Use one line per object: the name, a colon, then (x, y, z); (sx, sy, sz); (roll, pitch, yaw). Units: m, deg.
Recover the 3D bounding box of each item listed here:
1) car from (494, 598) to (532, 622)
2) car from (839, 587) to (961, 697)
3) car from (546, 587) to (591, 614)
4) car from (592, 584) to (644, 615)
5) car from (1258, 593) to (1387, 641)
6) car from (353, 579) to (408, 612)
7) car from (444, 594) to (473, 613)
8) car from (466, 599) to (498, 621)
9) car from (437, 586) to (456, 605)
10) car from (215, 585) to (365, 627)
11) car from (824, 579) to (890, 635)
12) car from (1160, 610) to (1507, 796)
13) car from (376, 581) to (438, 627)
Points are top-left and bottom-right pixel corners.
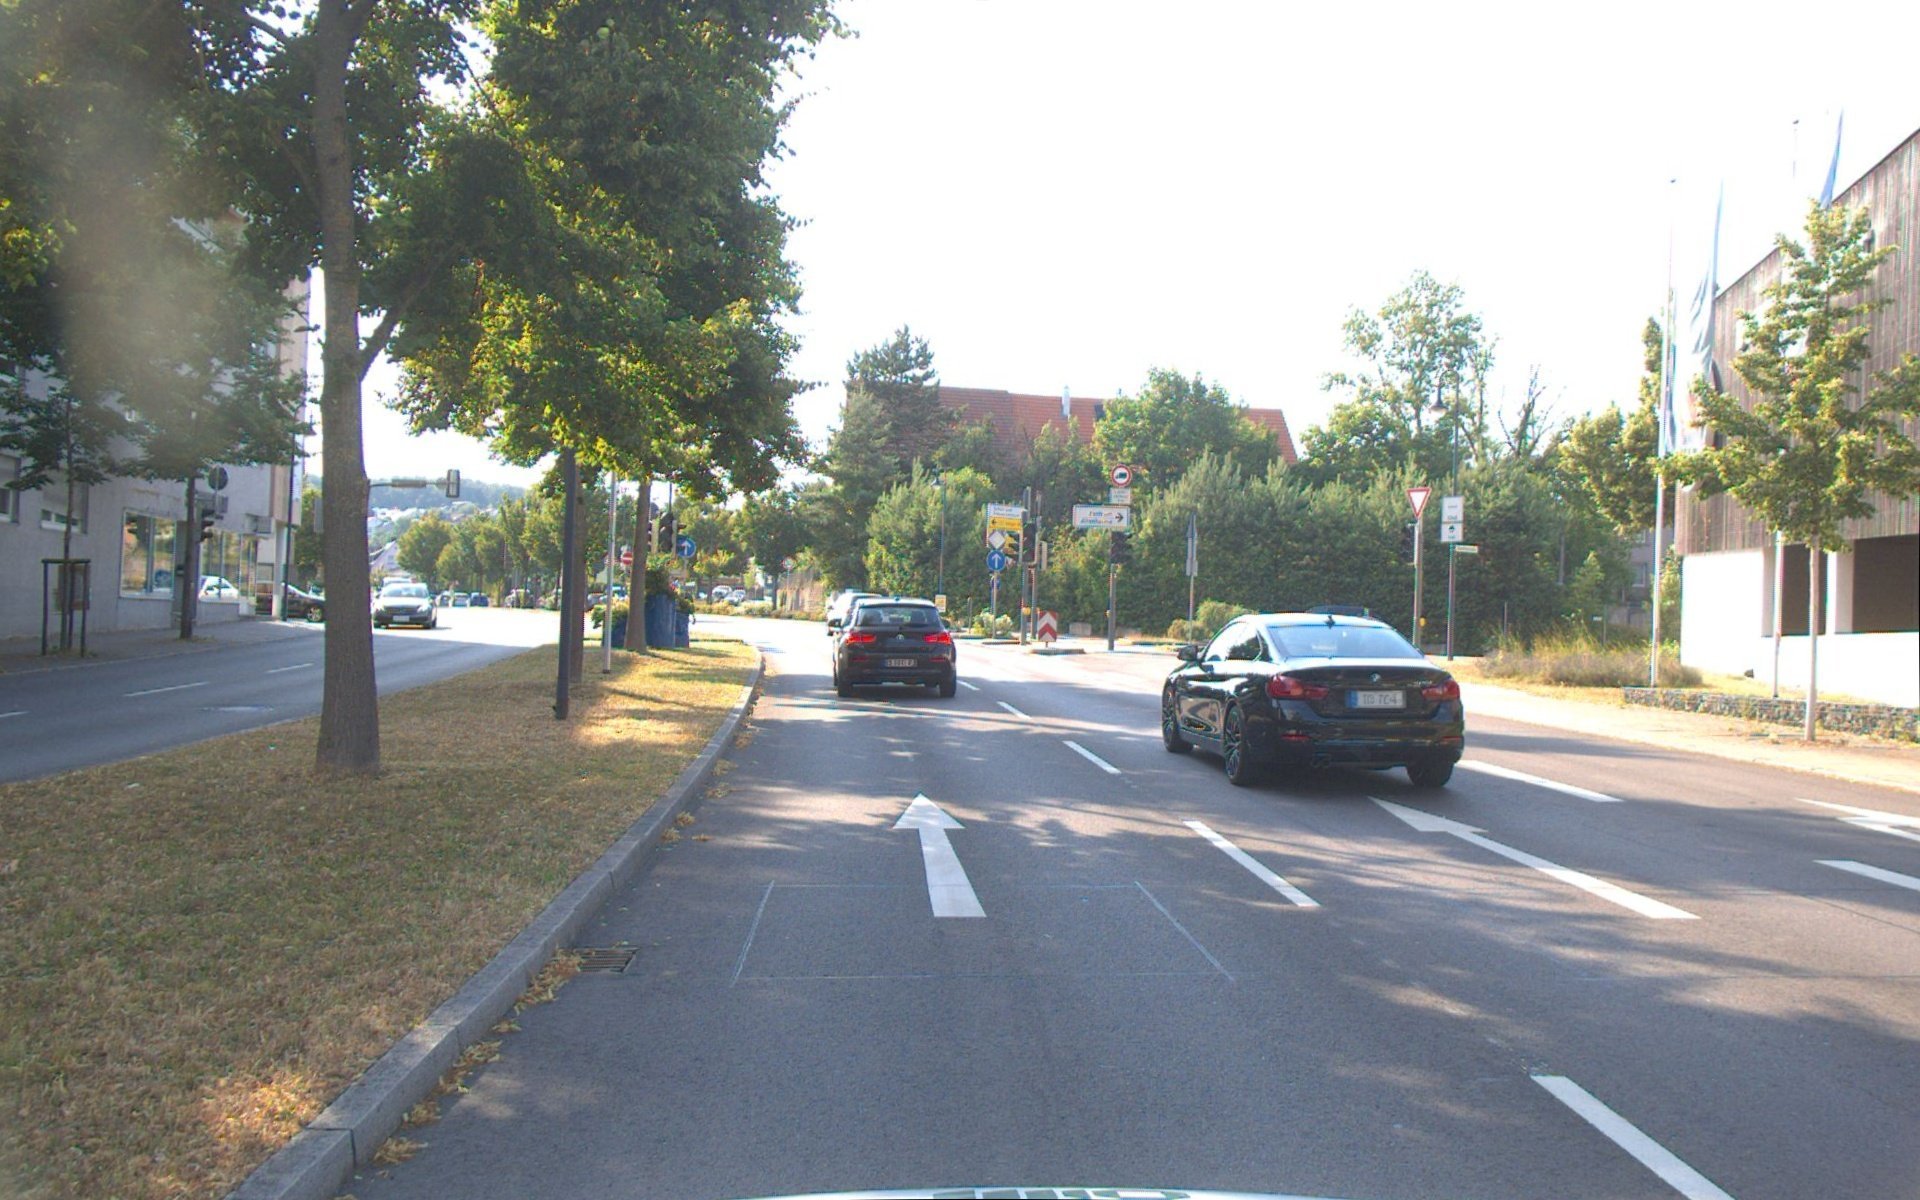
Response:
car: (-34.909, 0.740, 129.130); (2.188, 1.800, 4.421); (1, 0, -24)
car: (-0.884, 0.600, 25.449); (1.686, 1.516, 4.352); (1, 0, -1)
car: (-26.756, 0.018, 112.982); (2.188, 1.800, 4.421); (1, 0, -24)
car: (-20.744, -0.044, 100.200); (2.188, 1.800, 4.421); (1, 0, -24)
car: (12.933, 0.609, 59.074); (4.175, 1.594, 1.790); (1, 0, 28)
car: (-32.436, -0.260, 92.487); (1.835, 1.767, 4.866); (1, 0, -33)
car: (-49.652, 0.366, 163.615); (2.188, 1.800, 4.421); (1, 0, -24)
car: (-42.489, 0.857, 146.961); (2.188, 1.891, 4.421); (1, 0, -24)
car: (-54.684, -0.496, 176.153); (1.746, 2.049, 3.977); (1, 0, -19)
car: (-24.263, 0.206, 60.064); (4.776, 1.462, 1.910); (1, 0, -14)
car: (-3.550, 0.227, 56.394); (1.889, 1.800, 4.446); (1, 0, -8)
car: (3.103, 0.799, 14.719); (1.882, 1.388, 4.350); (1, 0, -3)
car: (-18.831, 0.135, 56.465); (1.823, 1.512, 4.973); (1, 0, -16)
